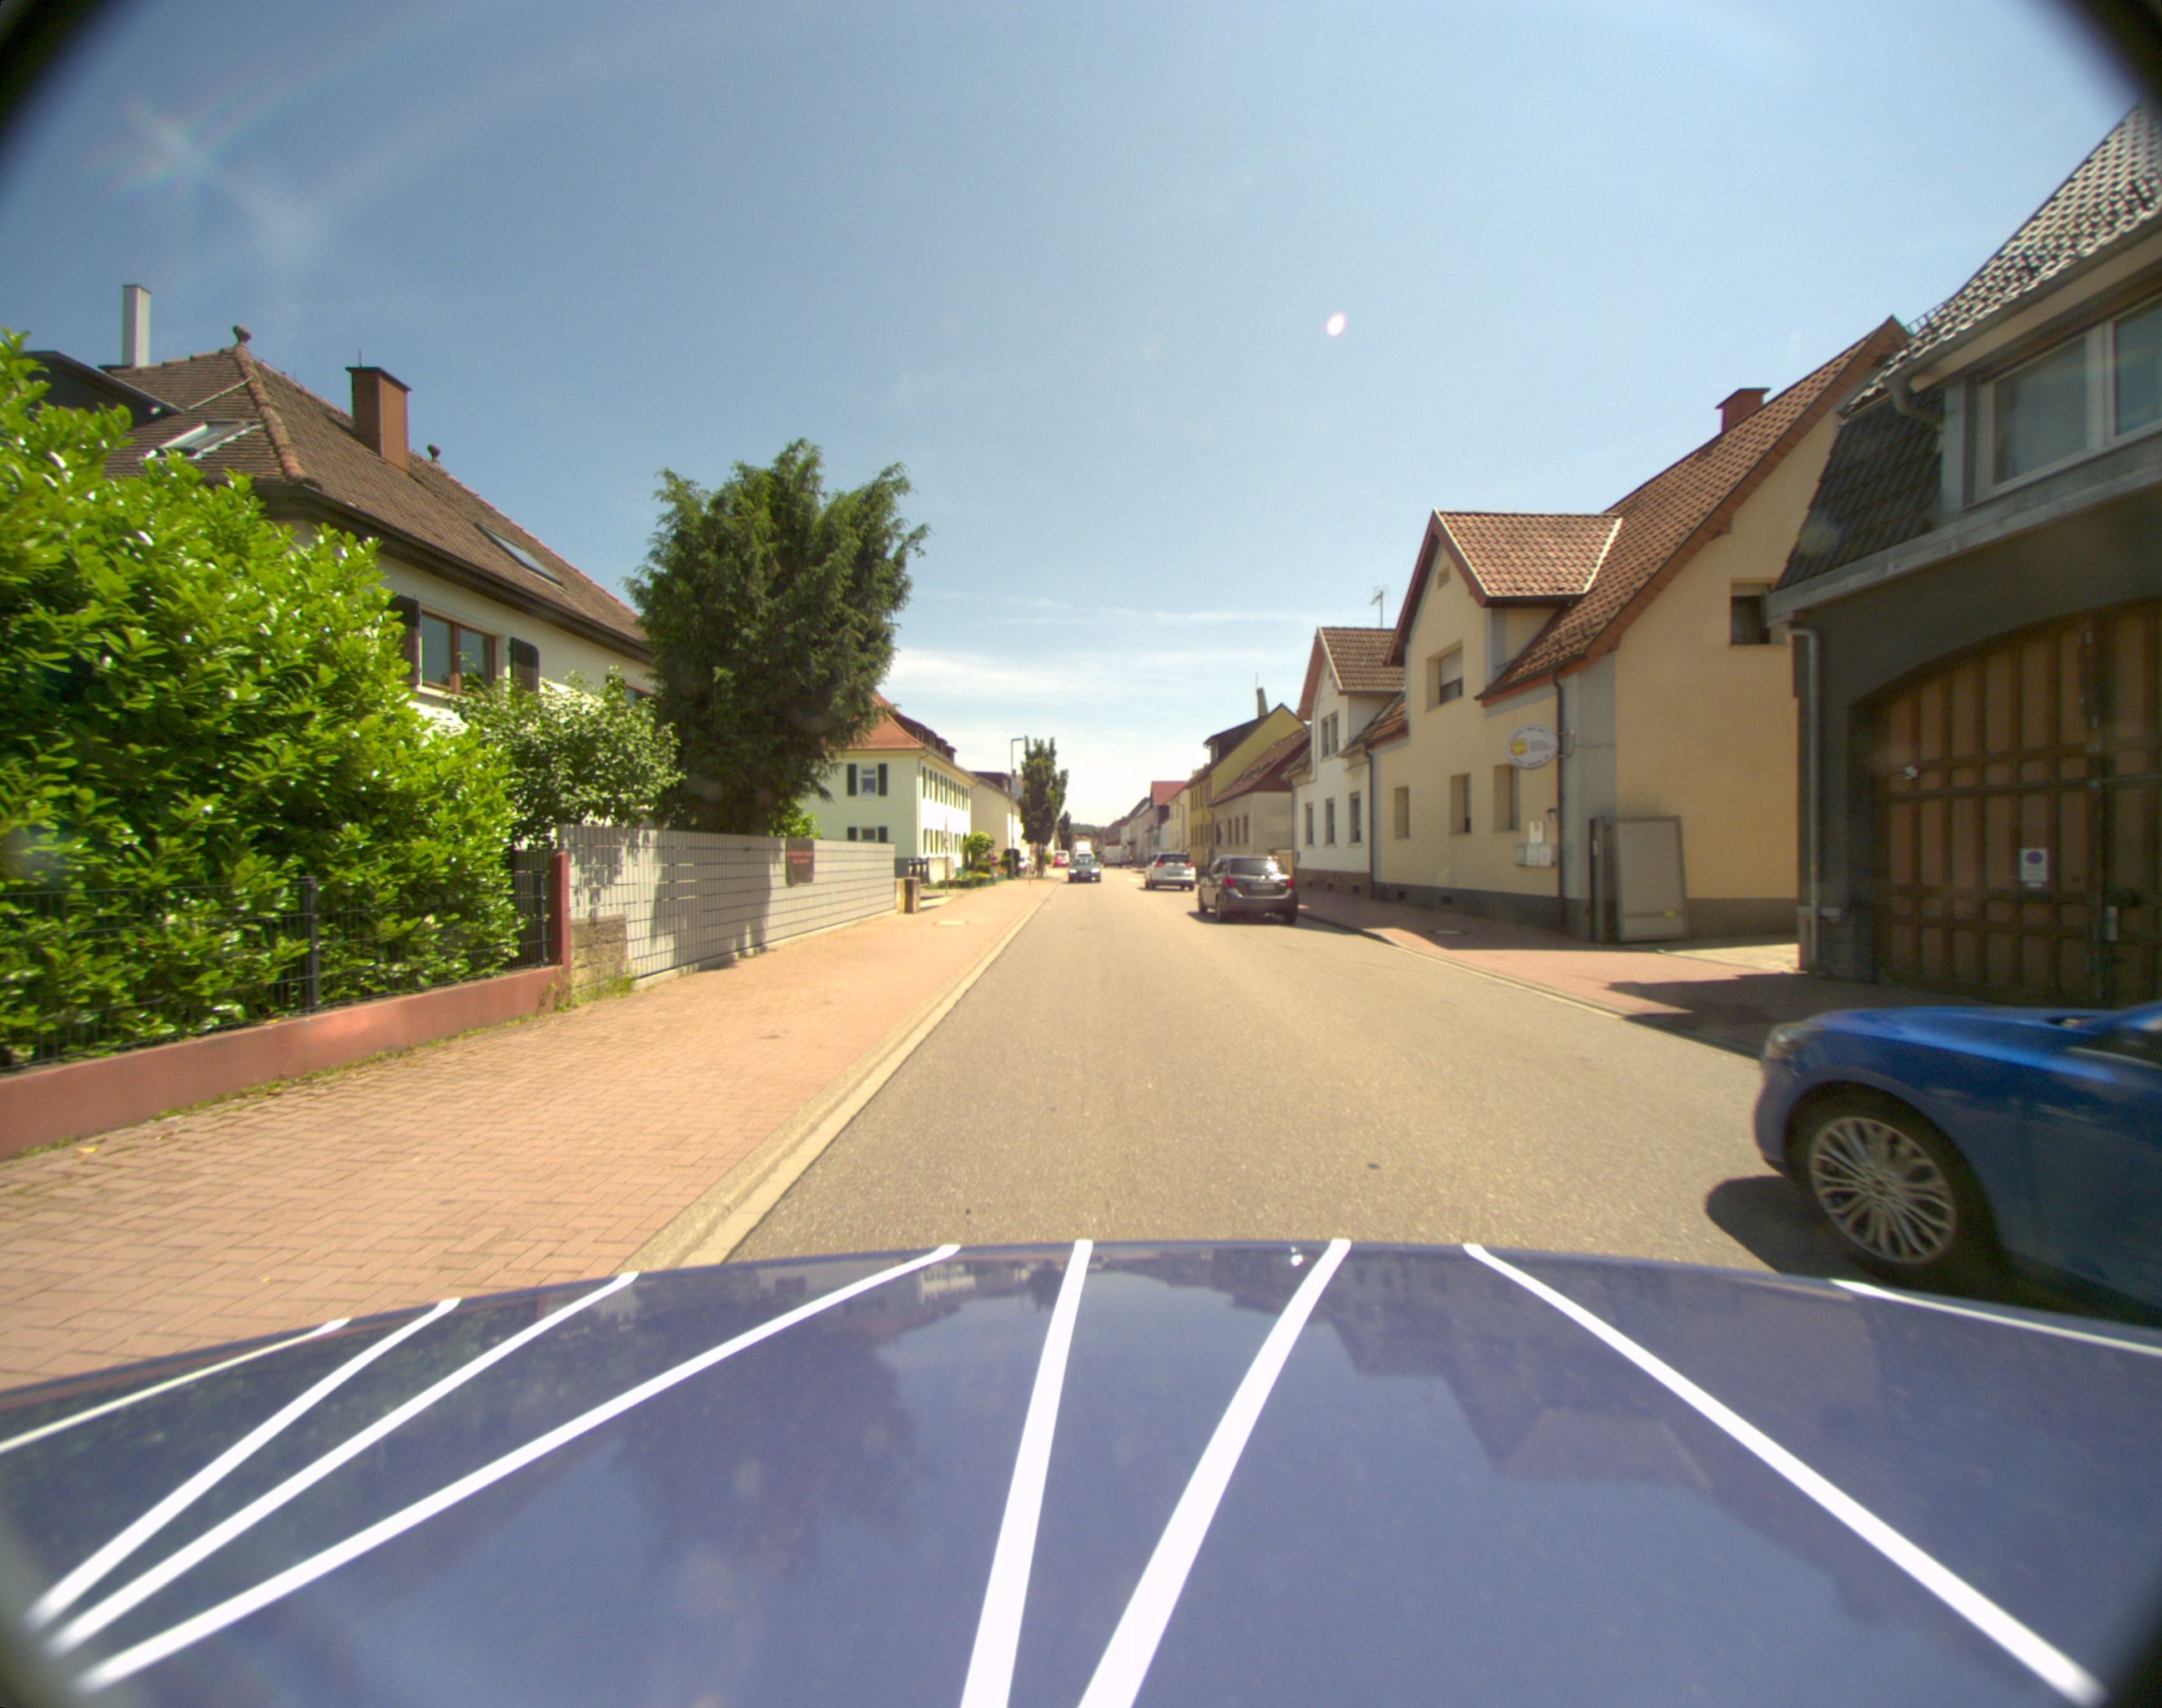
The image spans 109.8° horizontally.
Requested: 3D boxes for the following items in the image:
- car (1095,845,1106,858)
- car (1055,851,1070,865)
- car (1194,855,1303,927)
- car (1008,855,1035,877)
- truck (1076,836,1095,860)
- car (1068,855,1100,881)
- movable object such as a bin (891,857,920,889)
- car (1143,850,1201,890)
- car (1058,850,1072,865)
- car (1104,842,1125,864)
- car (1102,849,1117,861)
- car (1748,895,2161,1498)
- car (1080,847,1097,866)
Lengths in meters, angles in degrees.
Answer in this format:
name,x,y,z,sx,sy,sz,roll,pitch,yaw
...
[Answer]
name,x,y,z,sx,sy,sz,roll,pitch,yaw
car,3.892,-0.578,150.893,1.983,2.502,4.250,1,0,0
car,-2.169,0.397,88.850,1.636,1.572,3.569,1,0,1
car,3.771,0.777,17.758,1.680,1.450,3.928,0,1,0
car,-4.516,0.867,58.424,1.509,1.521,4.437,-2,0,3
truck,0.775,-0.910,121.140,2.898,3.516,12.953,0,0,1
car,0.190,0.738,42.602,1.705,1.346,4.000,-2,0,1
movable object such as a bin,-8.378,0.903,36.269,1.052,1.422,0.901,-3,1,2
car,3.865,0.636,32.949,1.878,1.594,4.430,1,1,-1
car,-1.999,0.456,94.826,1.636,1.833,3.569,1,0,0
car,3.886,-0.141,89.603,2.115,2.517,4.913,1,0,-1
car,4.000,0.176,107.560,1.982,1.624,4.251,1,0,1
car,3.522,0.913,0.910,1.649,1.445,4.401,0,1,2
car,0.737,0.206,75.522,1.636,1.833,3.570,0,0,2
